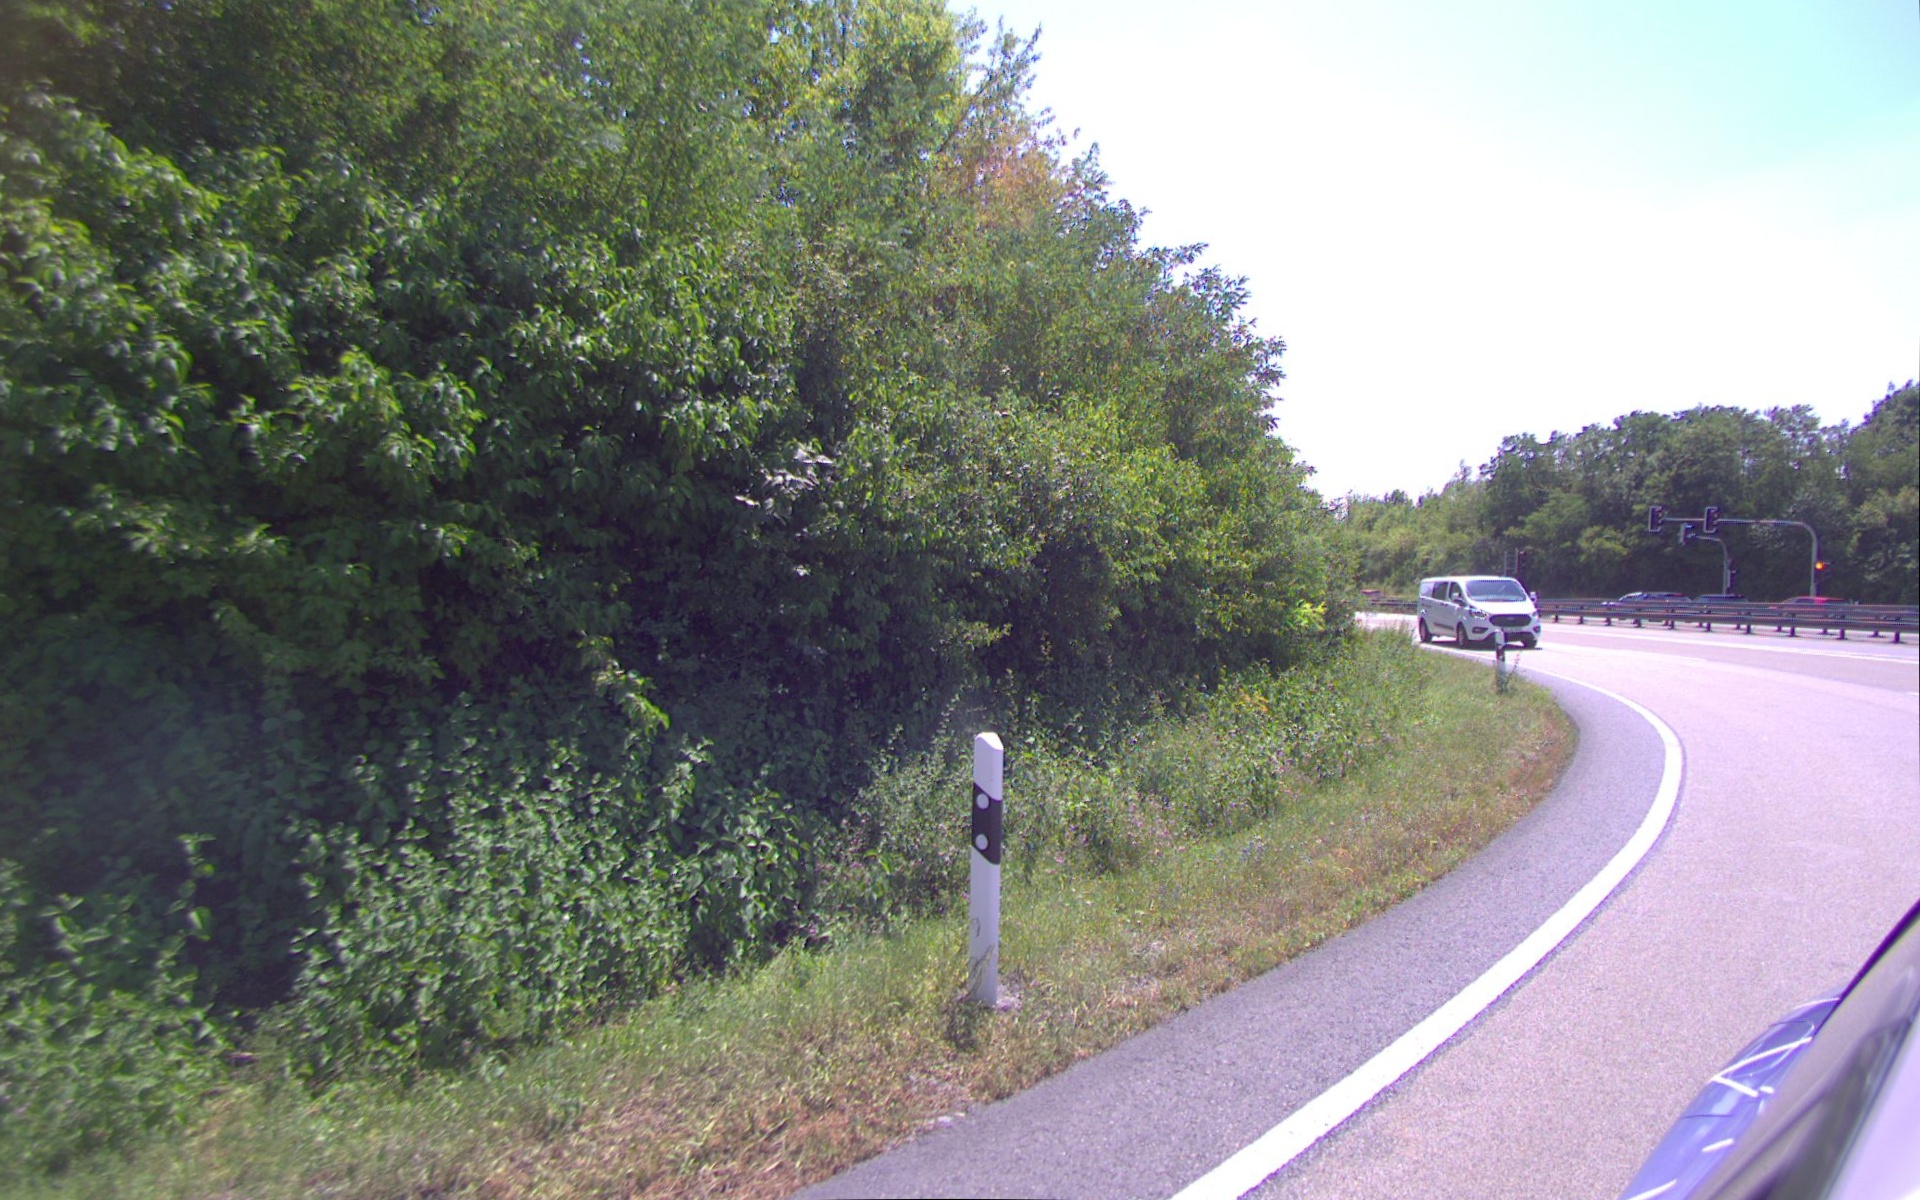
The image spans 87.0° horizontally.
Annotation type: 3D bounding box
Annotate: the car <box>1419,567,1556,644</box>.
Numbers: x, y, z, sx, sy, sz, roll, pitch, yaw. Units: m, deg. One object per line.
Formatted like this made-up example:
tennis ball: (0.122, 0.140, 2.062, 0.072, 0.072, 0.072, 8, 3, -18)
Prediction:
car: (15.217, 0.134, 29.560, 2.030, 2.039, 5.028, -1, 0, 9)

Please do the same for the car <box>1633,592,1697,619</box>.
car: (33.530, 0.258, 48.201, 1.135, 1.252, 2.727, 0, 0, 0)

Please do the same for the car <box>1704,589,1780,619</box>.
car: (37.710, 0.171, 48.871, 1.319, 1.366, 3.016, 0, 0, 0)

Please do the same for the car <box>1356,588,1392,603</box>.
car: (36.208, -0.413, 88.556, 1.676, 1.237, 3.372, 0, 1, -2)

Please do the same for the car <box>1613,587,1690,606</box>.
car: (45.707, -0.233, 66.913, 1.680, 1.237, 3.938, -1, 1, -42)

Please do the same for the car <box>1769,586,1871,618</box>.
car: (40.963, 0.063, 48.316, 1.536, 1.468, 3.707, 0, 0, -4)
